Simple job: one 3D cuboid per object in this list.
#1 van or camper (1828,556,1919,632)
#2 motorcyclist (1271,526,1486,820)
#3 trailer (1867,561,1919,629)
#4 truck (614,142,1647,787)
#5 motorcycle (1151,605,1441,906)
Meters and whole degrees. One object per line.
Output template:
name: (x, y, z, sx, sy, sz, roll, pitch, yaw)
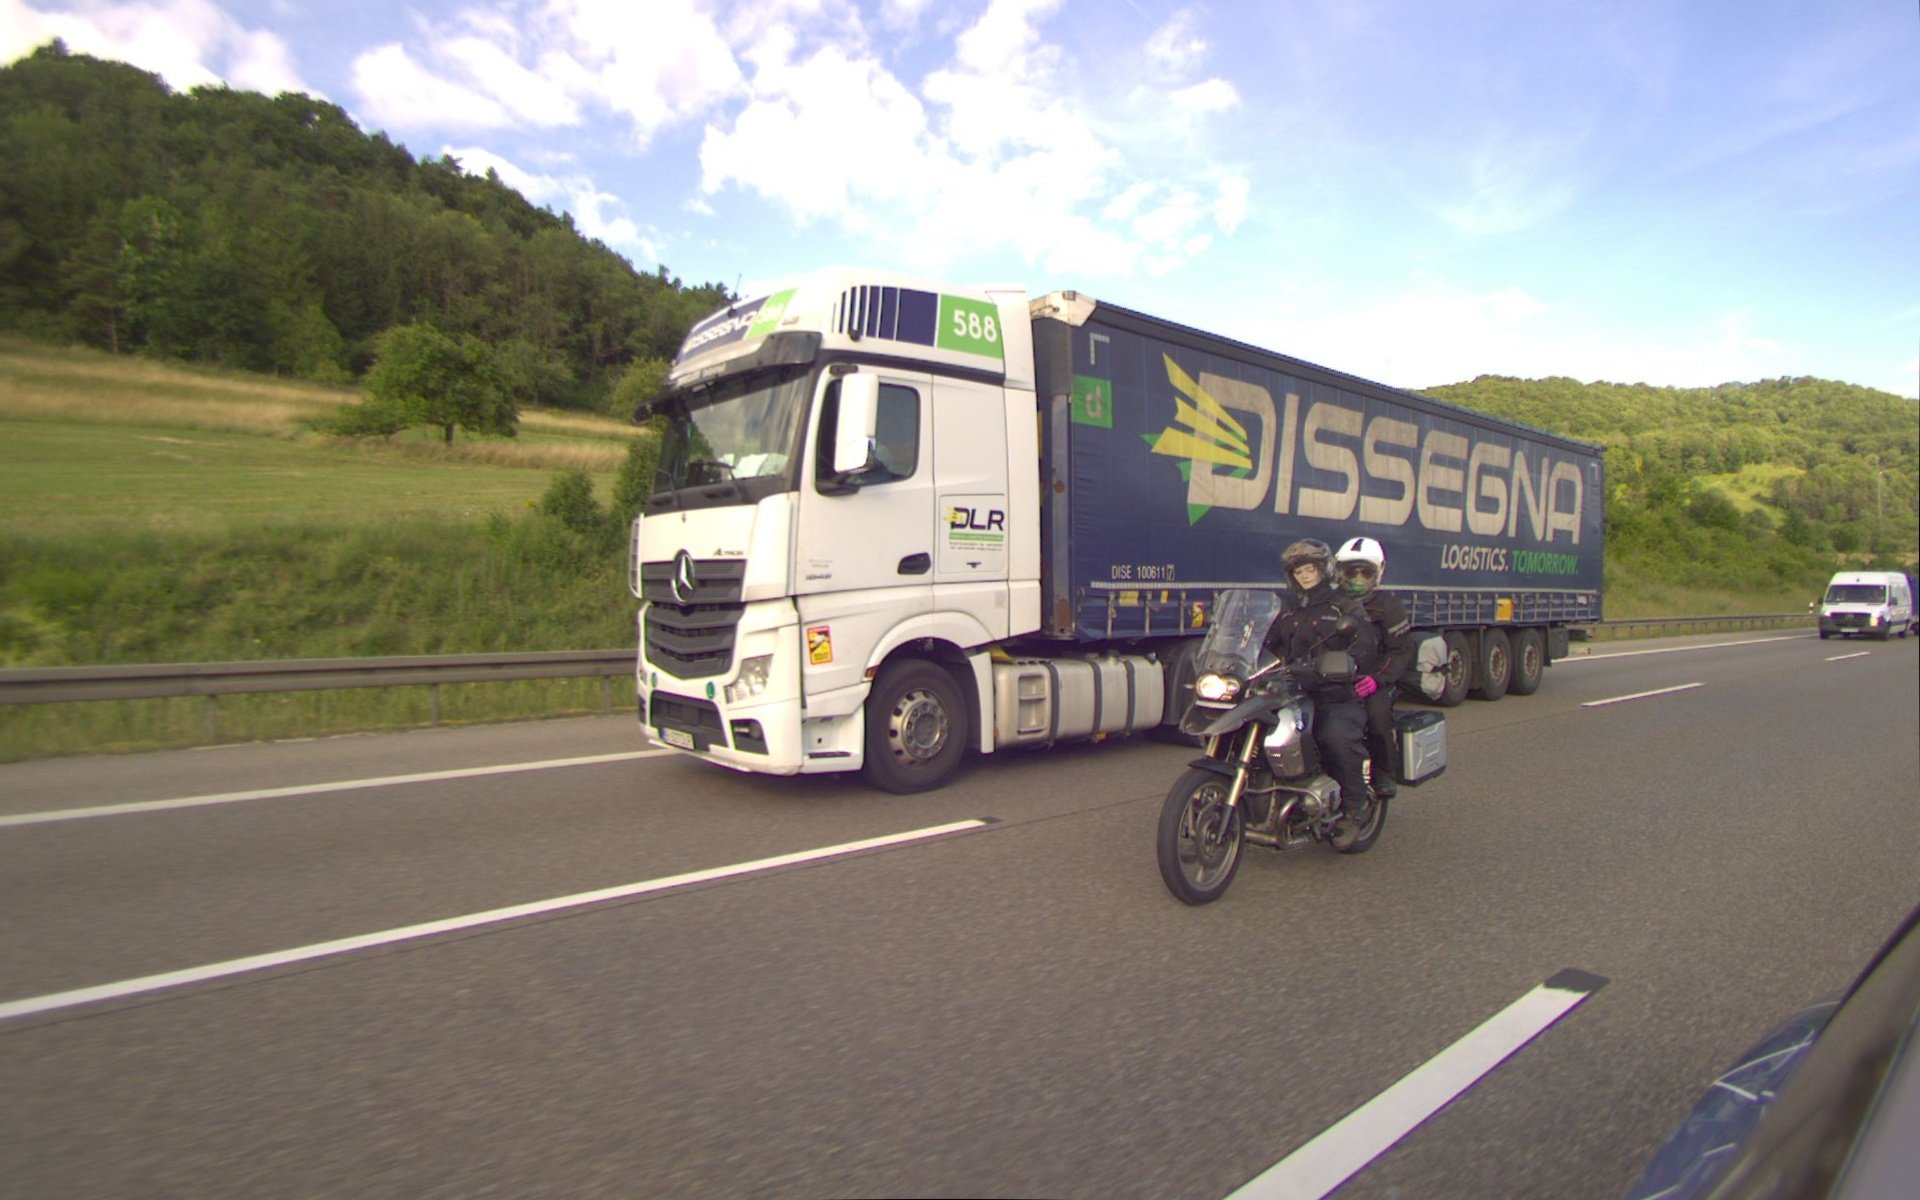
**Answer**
van or camper: (36.012, -0.207, 39.450, 7.386, 2.752, 1.998, 1, 0, -39)
motorcyclist: (2.417, 0.374, 5.873, 0.782, 1.534, 0.879, 0, 0, -36)
trailer: (40.600, -0.203, 43.220, 5.154, 2.760, 1.998, 0, 0, -39)
truck: (4.577, -0.876, 13.218, 17.422, 4.042, 2.969, 0, 0, -41)
motorcycle: (1.831, 0.713, 5.400, 1.707, 1.356, 0.629, 0, 0, -38)
